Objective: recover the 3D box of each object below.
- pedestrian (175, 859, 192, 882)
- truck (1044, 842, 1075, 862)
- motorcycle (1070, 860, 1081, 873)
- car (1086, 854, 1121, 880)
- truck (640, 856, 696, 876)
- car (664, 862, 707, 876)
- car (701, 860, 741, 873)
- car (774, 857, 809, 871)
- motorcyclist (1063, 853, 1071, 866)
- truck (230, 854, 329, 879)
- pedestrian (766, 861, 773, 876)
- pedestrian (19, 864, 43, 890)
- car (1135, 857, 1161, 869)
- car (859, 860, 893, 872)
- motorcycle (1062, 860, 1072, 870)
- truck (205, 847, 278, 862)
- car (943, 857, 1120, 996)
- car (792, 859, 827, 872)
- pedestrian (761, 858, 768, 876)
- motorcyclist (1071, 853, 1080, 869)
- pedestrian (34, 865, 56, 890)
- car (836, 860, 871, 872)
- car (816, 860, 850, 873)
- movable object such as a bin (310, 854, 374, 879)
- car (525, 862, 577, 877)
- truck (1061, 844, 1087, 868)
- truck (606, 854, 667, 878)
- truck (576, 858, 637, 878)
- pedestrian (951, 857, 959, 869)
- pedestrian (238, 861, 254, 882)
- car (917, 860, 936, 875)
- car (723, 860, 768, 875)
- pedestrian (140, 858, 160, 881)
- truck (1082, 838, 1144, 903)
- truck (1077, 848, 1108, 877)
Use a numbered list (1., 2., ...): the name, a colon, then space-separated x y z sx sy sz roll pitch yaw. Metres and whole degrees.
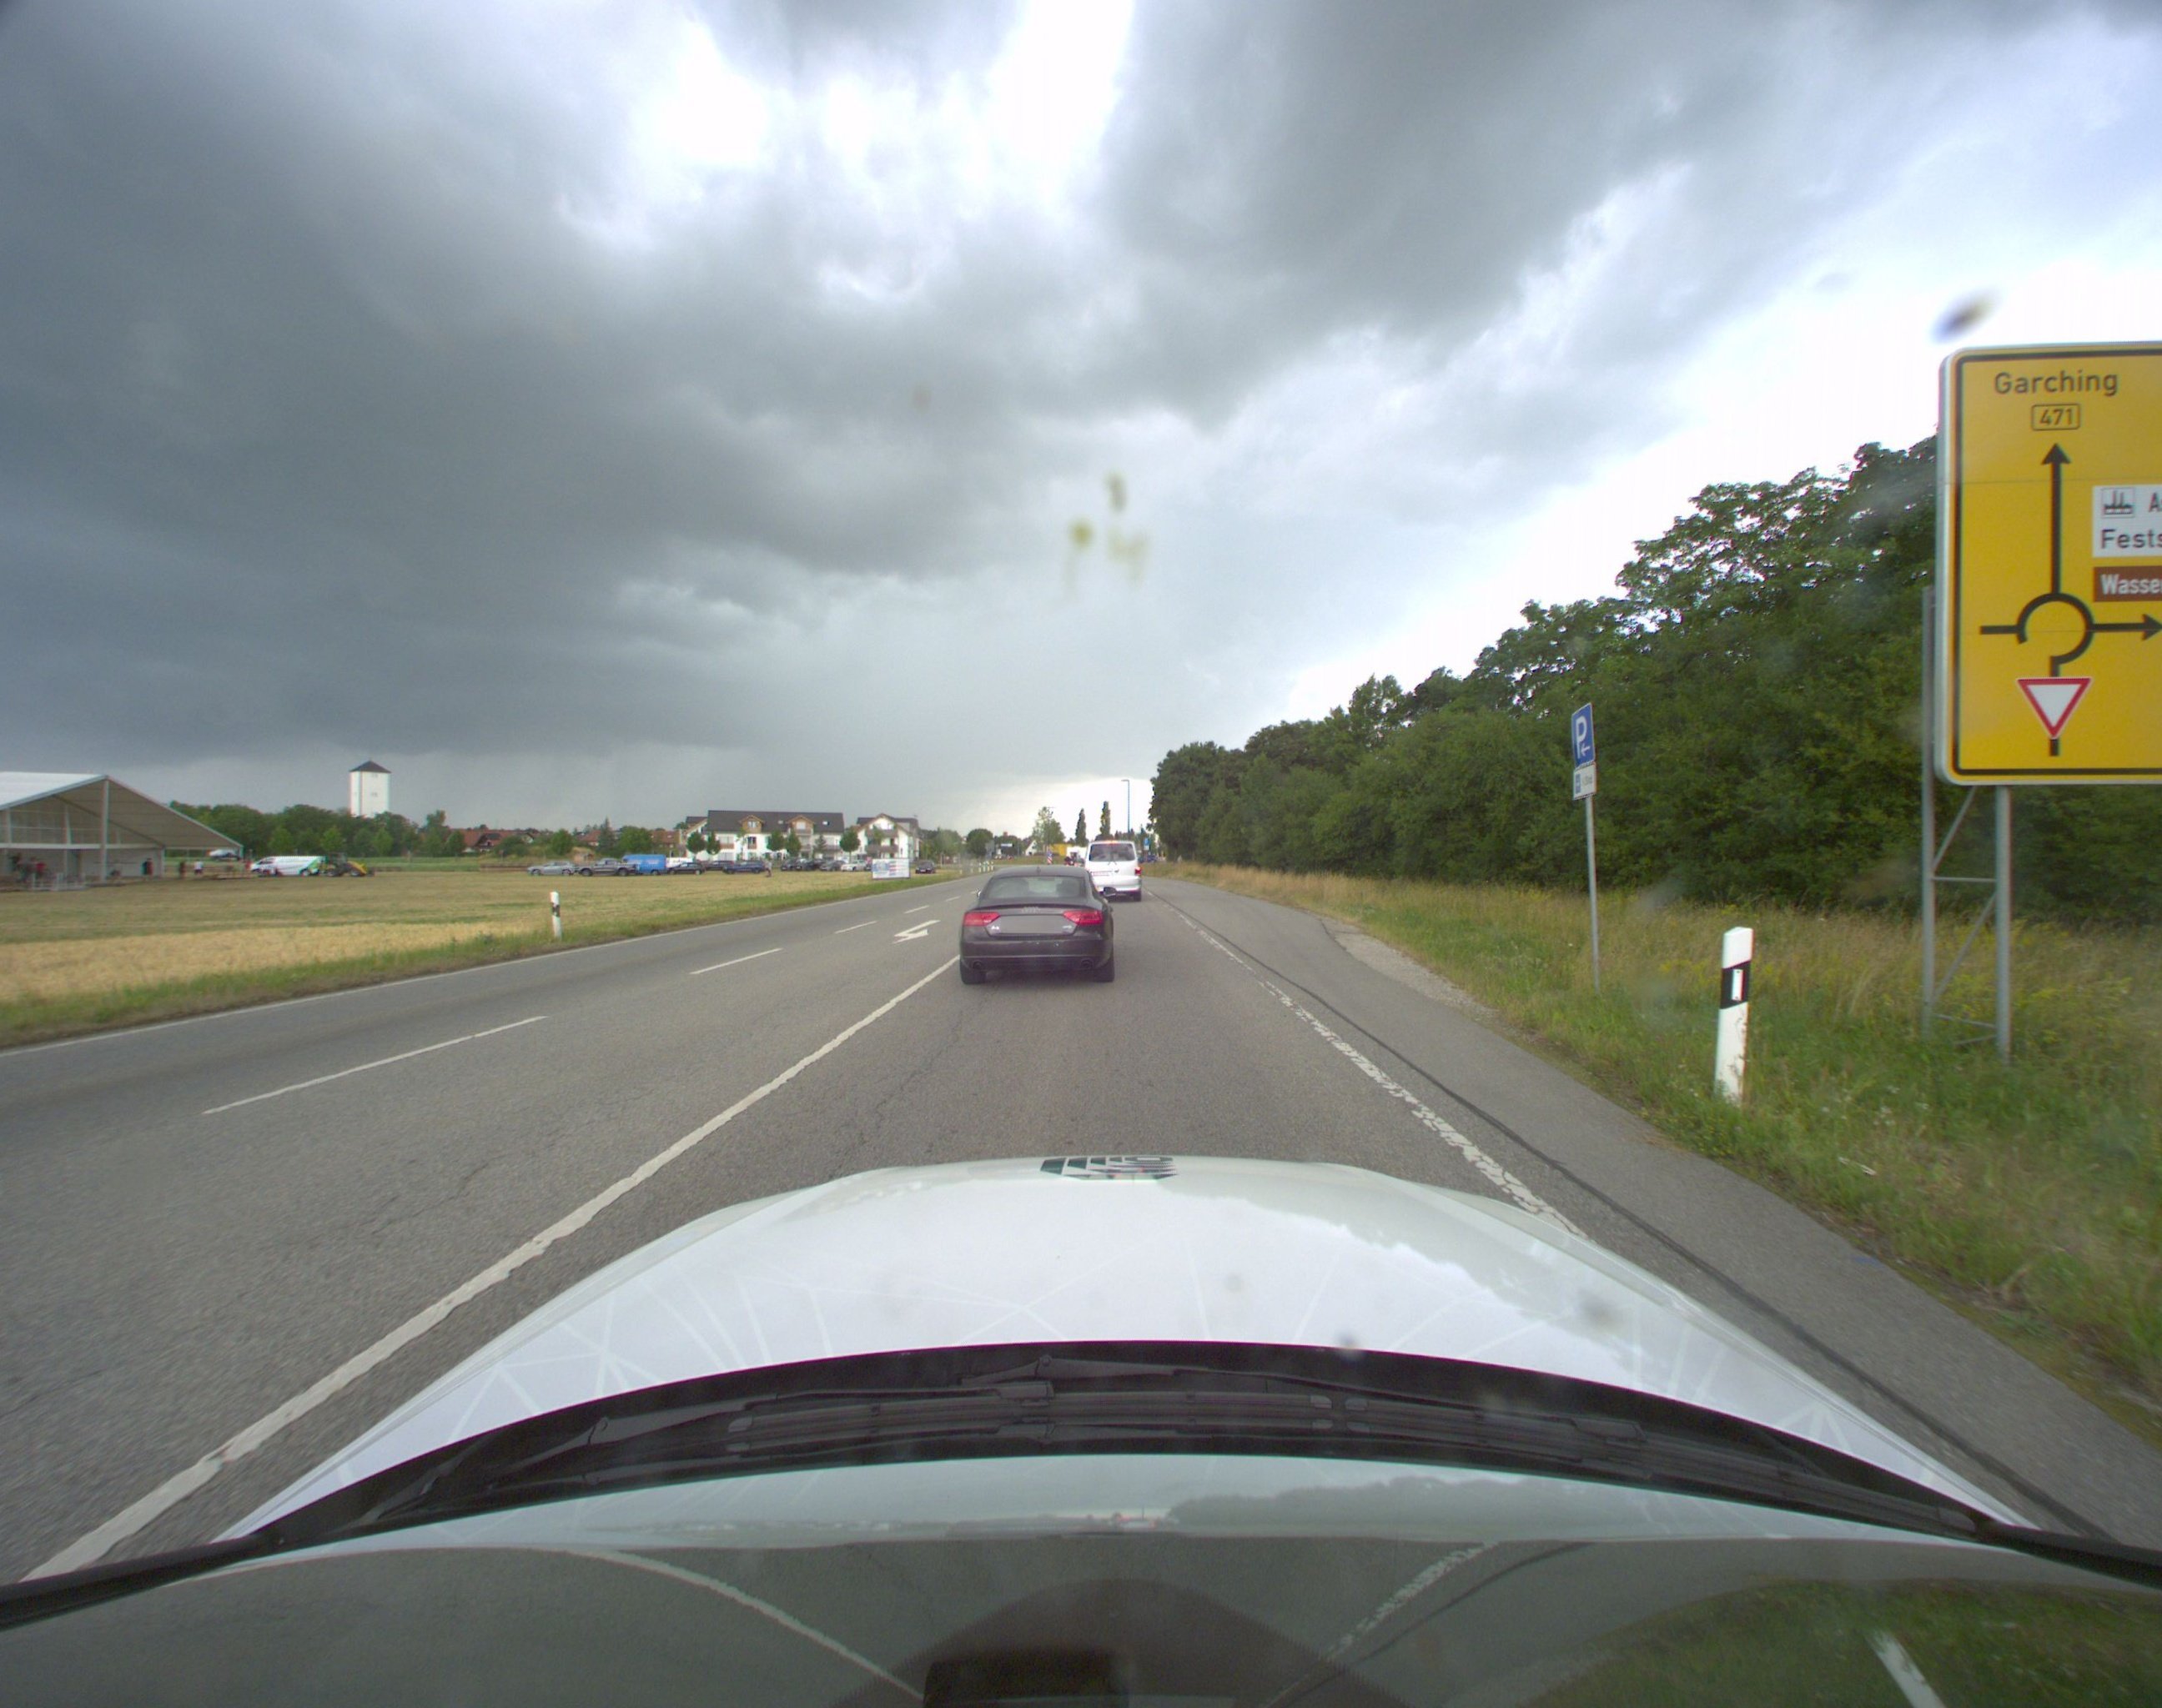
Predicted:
1. pedestrian: -73.127 1.323 66.382 0.623 1.866 0.707 0 -1 -8
2. truck: -4.187 -0.391 157.424 3.584 3.578 9.900 0 0 -17
3. motorcycle: -0.485 1.073 70.847 0.916 1.094 2.189 0 0 1
4. car: 1.351 0.780 49.504 1.986 1.485 4.000 -1 0 1
5. truck: -48.214 1.359 95.259 5.586 2.196 2.588 0 0 -22
6. car: -44.781 1.660 92.364 4.168 1.519 1.987 0 0 -19
7. car: -46.954 1.607 106.274 4.639 1.697 1.987 0 0 -19
8. car: -37.136 1.276 104.620 1.977 1.629 4.232 -1 0 20
9. motorcyclist: -1.447 0.543 84.543 0.784 1.356 0.852 0 0 -5
10. truck: -75.425 1.134 76.813 6.075 2.217 2.697 0 0 -26
11. pedestrian: -31.742 1.479 82.941 0.591 1.555 0.622 0 -1 -18
12. pedestrian: -74.380 1.637 57.674 0.732 1.779 0.755 0 -1 -19
13. car: 11.398 1.588 138.696 3.953 2.014 2.010 0 -1 21
14. car: -25.329 1.509 100.829 1.977 1.446 4.232 -1 0 20
15. motorcycle: -1.449 1.165 84.573 0.942 1.019 2.281 0 0 -3
16. truck: -149.313 0.100 144.927 9.319 2.530 3.298 0 0 -2
17. car: -0.486 0.785 10.794 1.868 1.454 4.177 -1 0 1
18. car: -34.067 1.448 102.301 1.977 1.629 4.232 -1 0 20
19. pedestrian: -31.780 1.334 81.832 0.548 1.786 0.676 0 -1 -10
20. motorcyclist: -0.507 0.625 70.887 0.769 1.383 0.820 0 0 1
21. pedestrian: -73.427 1.640 57.725 0.655 1.744 0.723 0 -1 -19
22. car: -28.234 1.451 101.202 1.977 1.446 4.232 -1 0 20
23. car: -30.950 1.498 101.736 1.977 1.536 4.232 -1 0 20
24. movable object such as a bin: -68.934 1.139 76.014 4.006 2.243 1.869 0 -1 -27
25. car: -55.286 1.590 84.971 4.316 1.461 1.876 0 0 -25
26. truck: -0.845 0.256 95.555 2.622 2.737 5.856 0 0 -5
27. truck: -47.770 1.259 87.688 5.469 2.446 2.377 0 -1 -22
28. truck: -48.583 1.435 83.536 5.252 1.920 2.095 0 0 -25
29. pedestrian: -16.480 1.135 106.473 0.695 1.586 0.661 -1 -1 18
30. pedestrian: -72.335 1.493 70.534 0.690 1.776 0.690 0 -1 -18
31. car: -16.743 1.457 88.352 1.993 1.442 3.987 0 0 -9
32. car: -38.895 1.574 94.590 4.730 1.697 1.987 0 0 -19
33. pedestrian: -72.059 1.207 63.049 0.690 1.776 0.690 0 -1 -2
34. truck: 1.052 0.515 27.418 1.897 1.998 4.630 0 0 2
35. truck: 0.885 0.597 59.797 2.185 2.014 5.087 0 0 2
